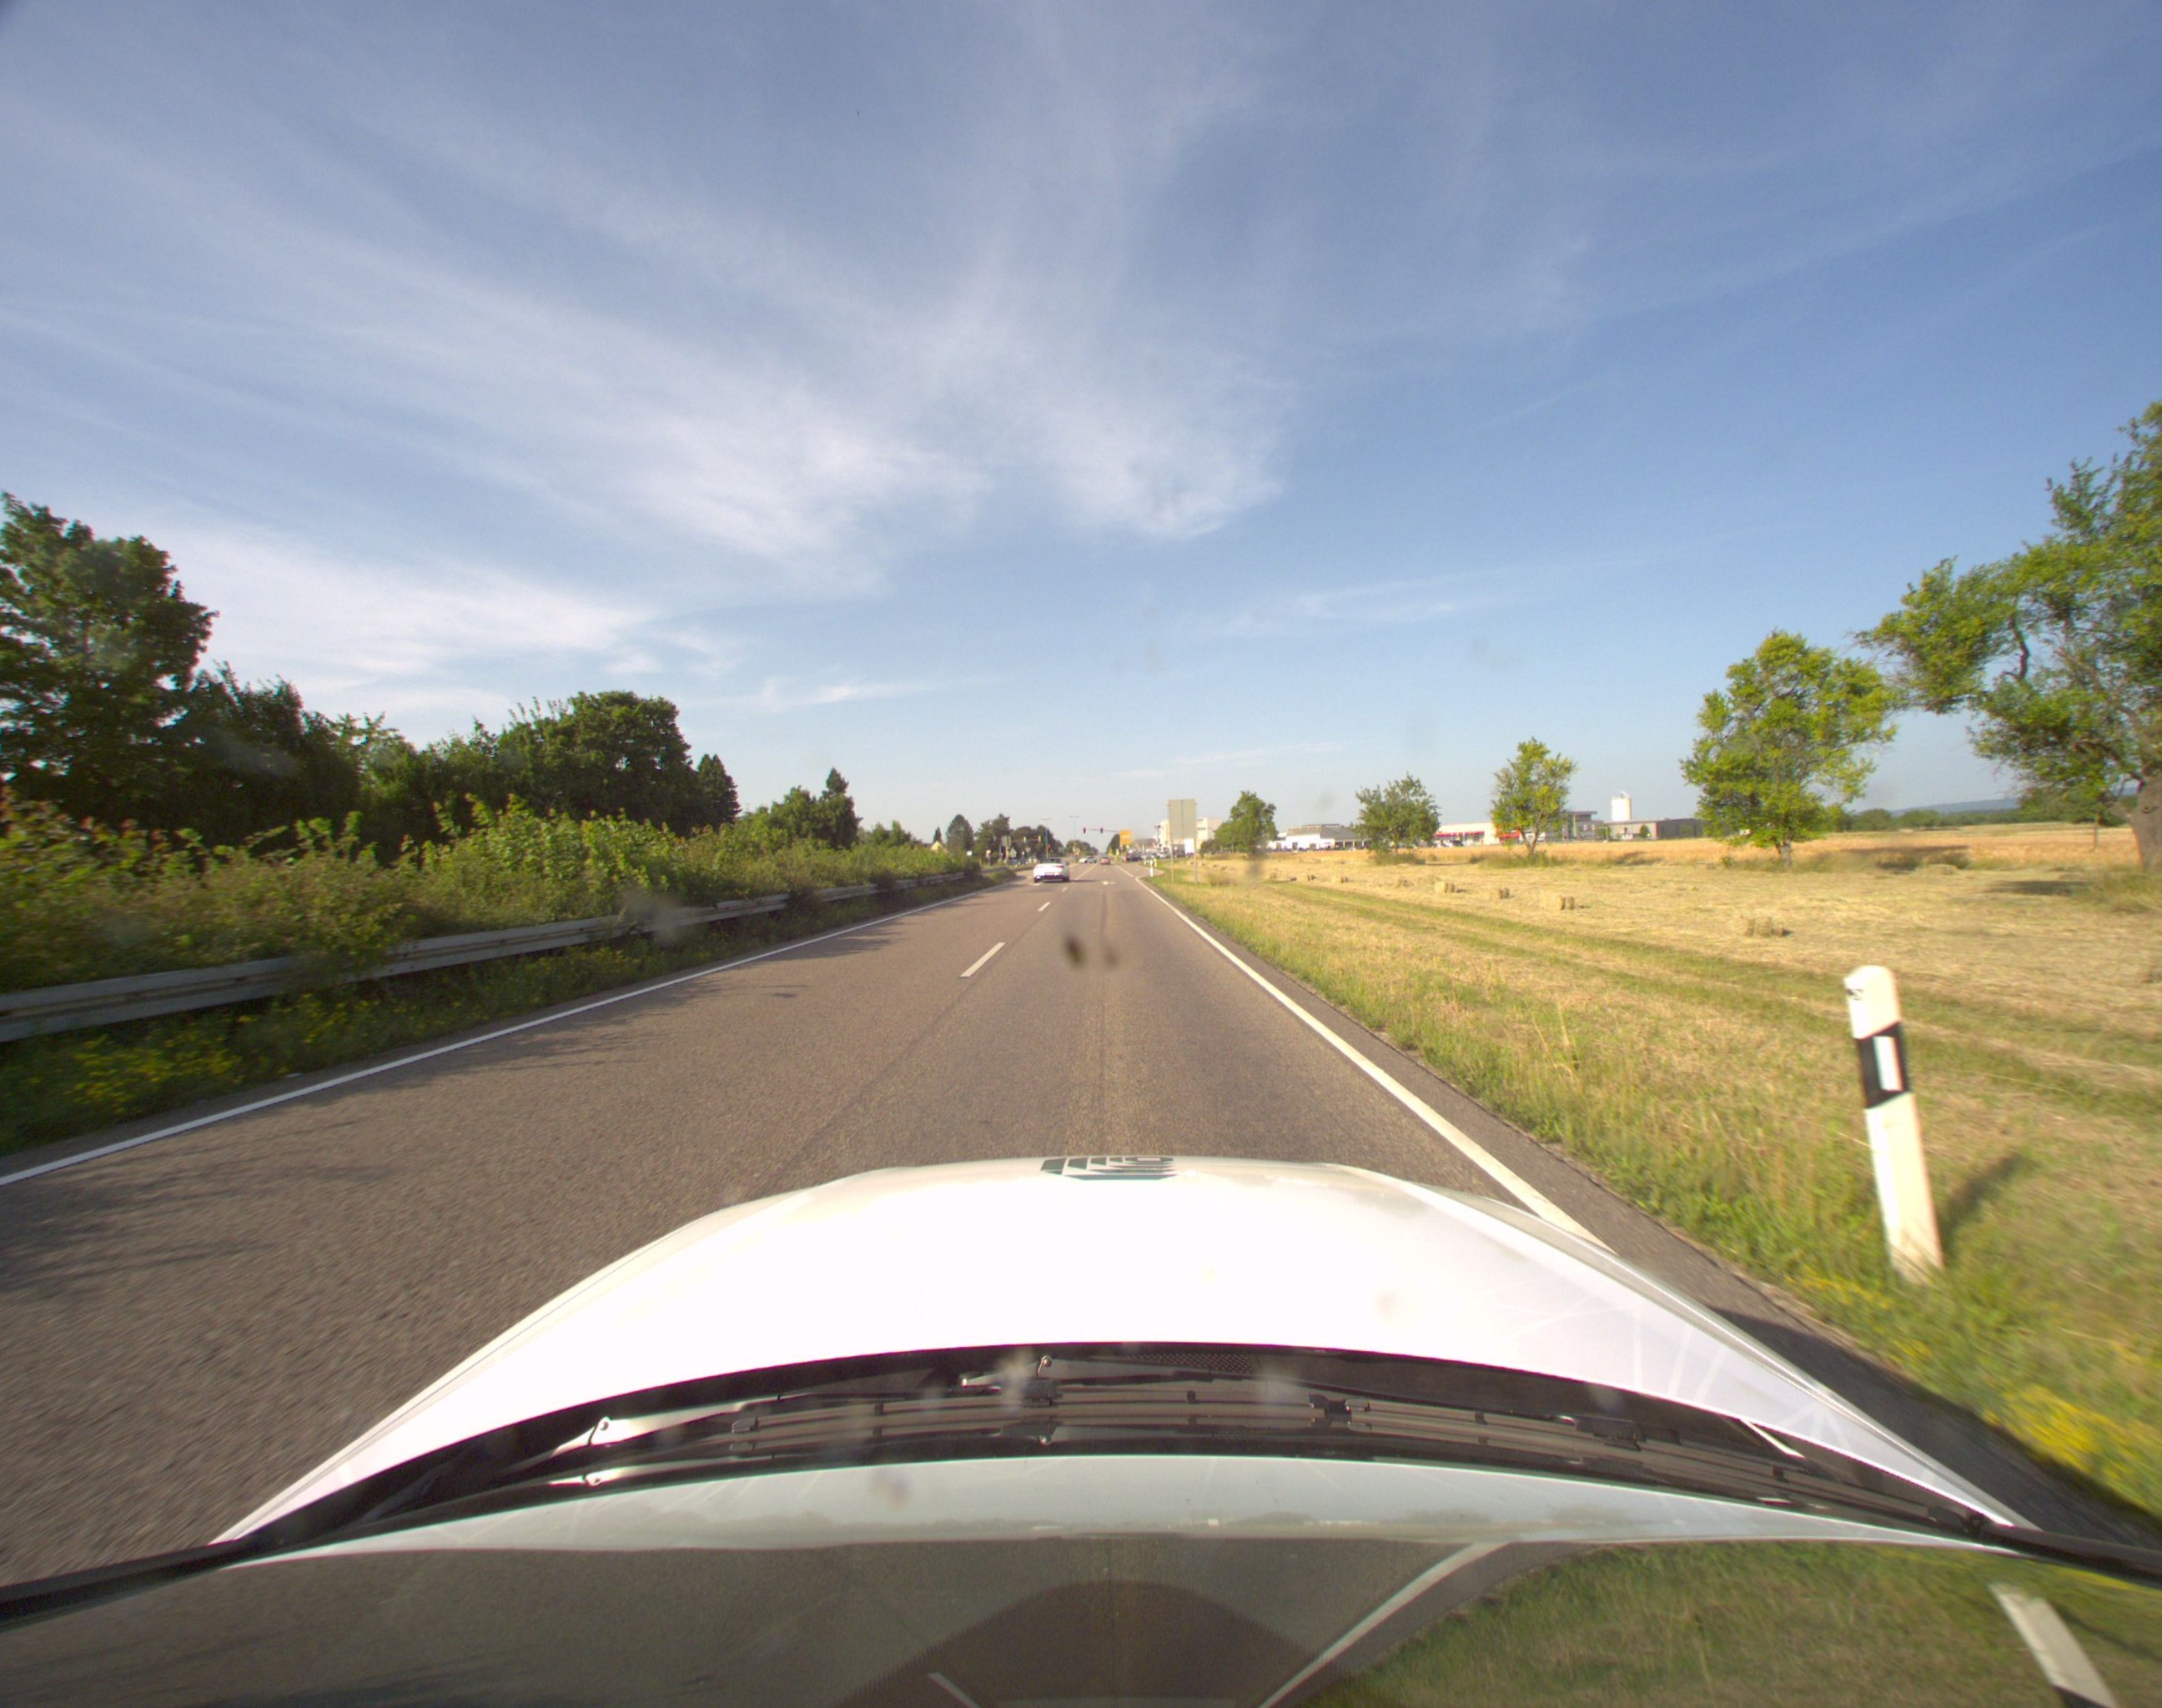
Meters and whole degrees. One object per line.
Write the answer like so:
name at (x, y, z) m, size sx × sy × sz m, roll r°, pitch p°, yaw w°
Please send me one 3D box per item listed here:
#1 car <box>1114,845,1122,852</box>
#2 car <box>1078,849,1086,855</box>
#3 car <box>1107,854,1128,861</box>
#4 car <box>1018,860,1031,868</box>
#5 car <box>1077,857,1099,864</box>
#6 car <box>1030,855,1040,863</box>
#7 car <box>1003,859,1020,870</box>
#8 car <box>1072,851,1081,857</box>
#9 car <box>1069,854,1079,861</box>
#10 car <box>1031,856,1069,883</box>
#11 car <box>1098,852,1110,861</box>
car at (9.907, -1.456, 217.178) m, size 1.985 × 1.757 × 4.003 m, roll -1°, pitch 0°, yaw 3°
car at (0.220, -0.531, 217.460) m, size 1.940 × 1.772 × 4.002 m, roll -1°, pitch 0°, yaw 2°
car at (7.458, 0.750, 167.221) m, size 3.998 × 1.408 × 1.942 m, roll -1°, pitch 0°, yaw -19°
car at (-9.490, 1.693, 137.600) m, size 1.722 × 1.408 × 4.002 m, roll -1°, pitch 0°, yaw 2°
car at (1.452, 1.352, 166.030) m, size 4.016 × 1.408 × 1.933 m, roll -1°, pitch 0°, yaw -34°
car at (-10.479, 1.155, 185.524) m, size 1.940 × 1.800 × 4.002 m, roll -1°, pitch 0°, yaw 2°
car at (-10.155, 1.470, 119.110) m, size 1.987 × 1.486 × 4.227 m, roll -1°, pitch 0°, yaw 1°
car at (-1.148, -0.062, 203.258) m, size 1.940 × 1.408 × 4.002 m, roll -1°, pitch 0°, yaw 2°
car at (-1.469, 0.691, 178.480) m, size 1.940 × 1.408 × 4.002 m, roll -1°, pitch 0°, yaw 2°
car at (-1.697, 0.864, 46.245) m, size 1.903 × 1.422 × 4.001 m, roll -1°, pitch 0°, yaw 1°
car at (4.066, 0.471, 143.415) m, size 1.987 × 1.486 × 4.001 m, roll -1°, pitch 0°, yaw 1°
